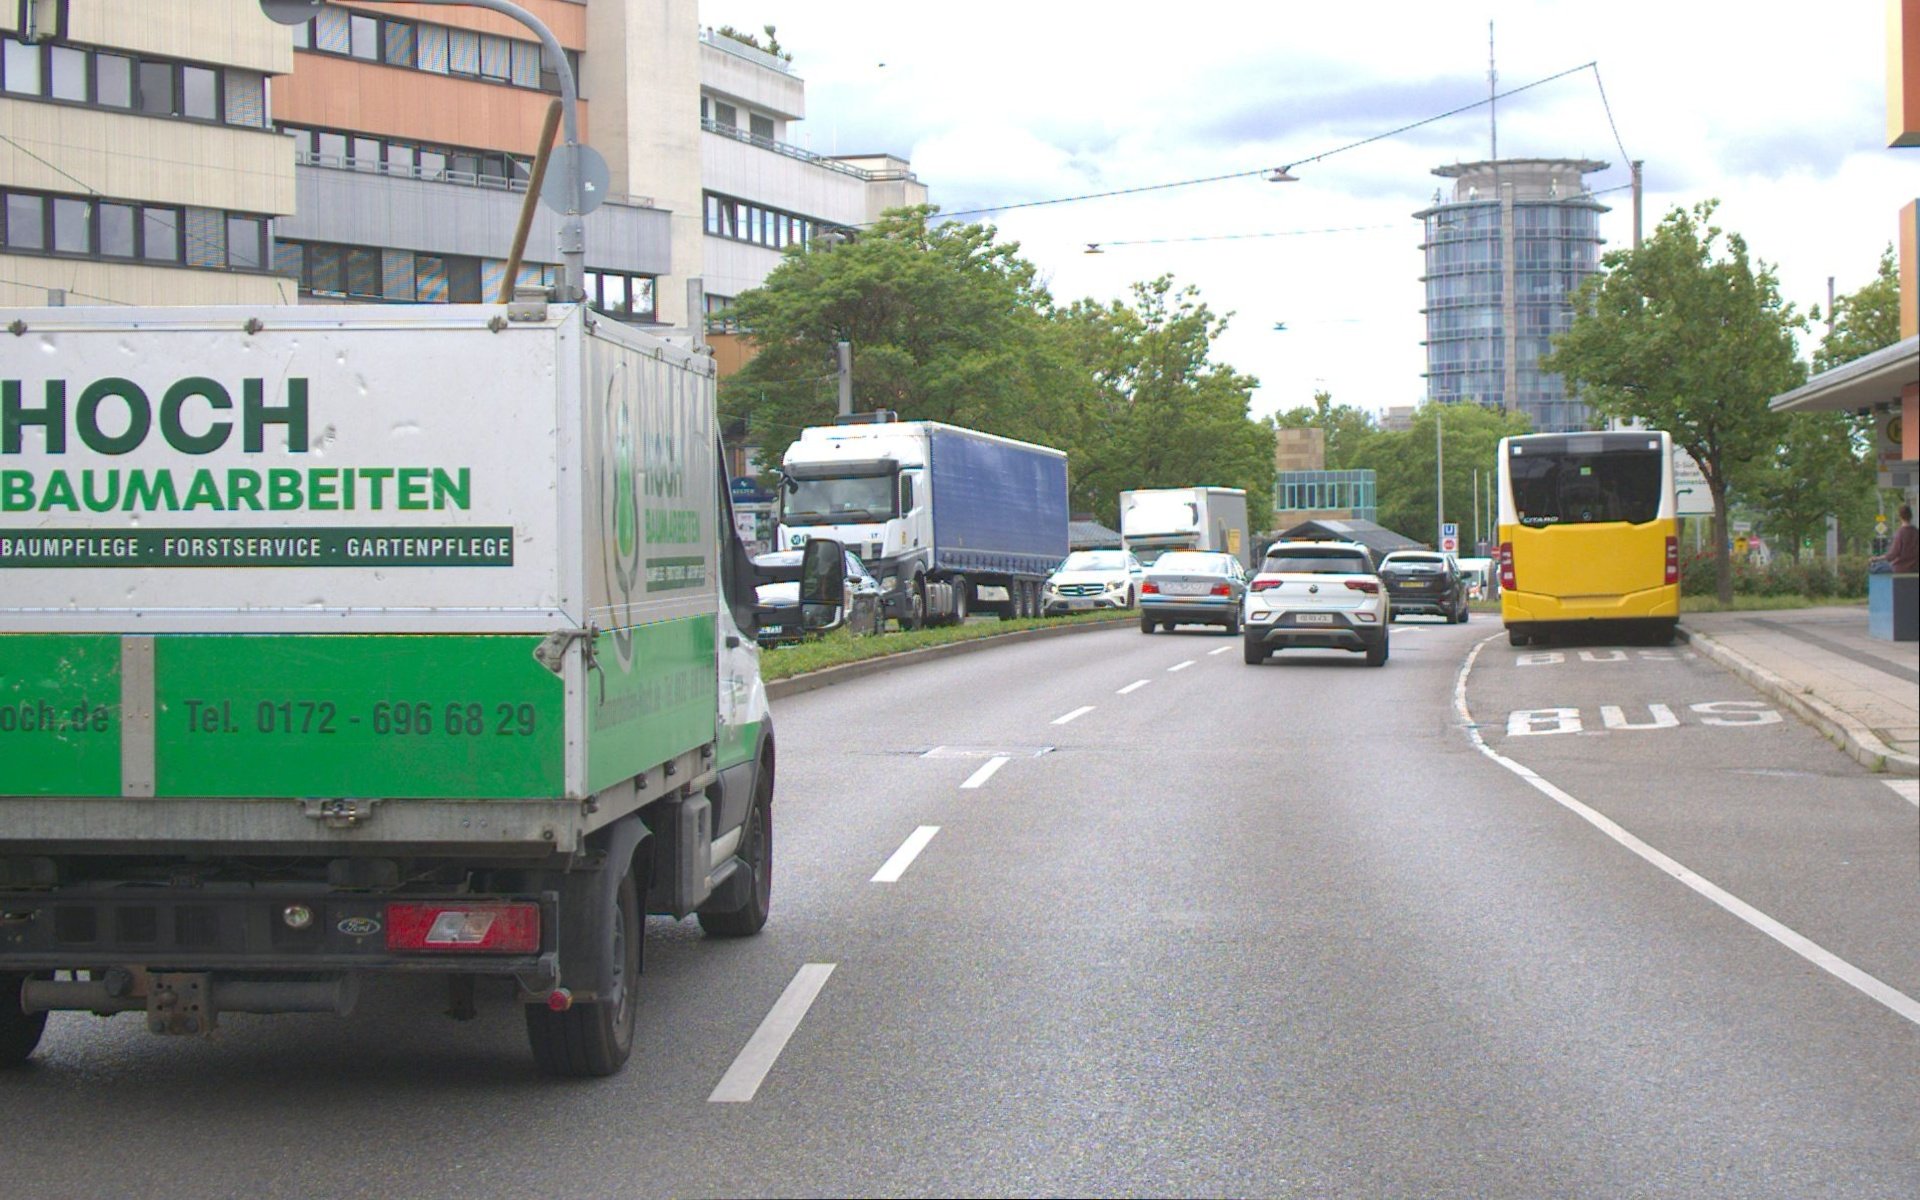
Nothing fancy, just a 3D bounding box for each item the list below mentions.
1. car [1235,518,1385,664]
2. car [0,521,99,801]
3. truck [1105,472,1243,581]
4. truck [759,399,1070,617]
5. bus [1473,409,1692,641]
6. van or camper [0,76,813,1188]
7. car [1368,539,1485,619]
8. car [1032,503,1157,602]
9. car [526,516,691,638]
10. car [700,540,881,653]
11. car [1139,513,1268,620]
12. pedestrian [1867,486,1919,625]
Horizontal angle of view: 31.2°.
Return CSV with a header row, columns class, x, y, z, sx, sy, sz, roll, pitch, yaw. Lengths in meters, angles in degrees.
class,x,y,z,sx,sy,sz,roll,pitch,yaw
car,4.552,-0.155,44.394,1.700,1.542,3.736,3,4,8
car,-6.504,0.364,19.554,1.898,1.612,4.275,-1,0,4
truck,6.344,-2.163,100.569,3.084,3.018,9.355,0,1,9
truck,-0.599,-1.918,72.419,2.955,4.065,16.594,0,1,12
bus,9.736,-1.172,53.490,2.955,3.179,9.924,-2,1,11
van or camper,-1.922,-0.048,11.244,2.343,2.652,5.965,1,2,3
car,9.744,-0.462,71.666,1.701,1.510,3.490,1,3,20
car,2.870,-1.019,72.357,1.994,2.007,5.195,0,1,9
car,-5.221,-0.376,51.467,1.565,1.747,3.840,0,1,8
car,-2.325,-0.072,47.971,1.700,1.511,3.492,0,1,11
car,4.123,-0.591,57.784,1.700,1.510,3.735,0,5,11
pedestrian,12.417,-0.593,45.349,0.709,1.809,0.764,0,1,1
